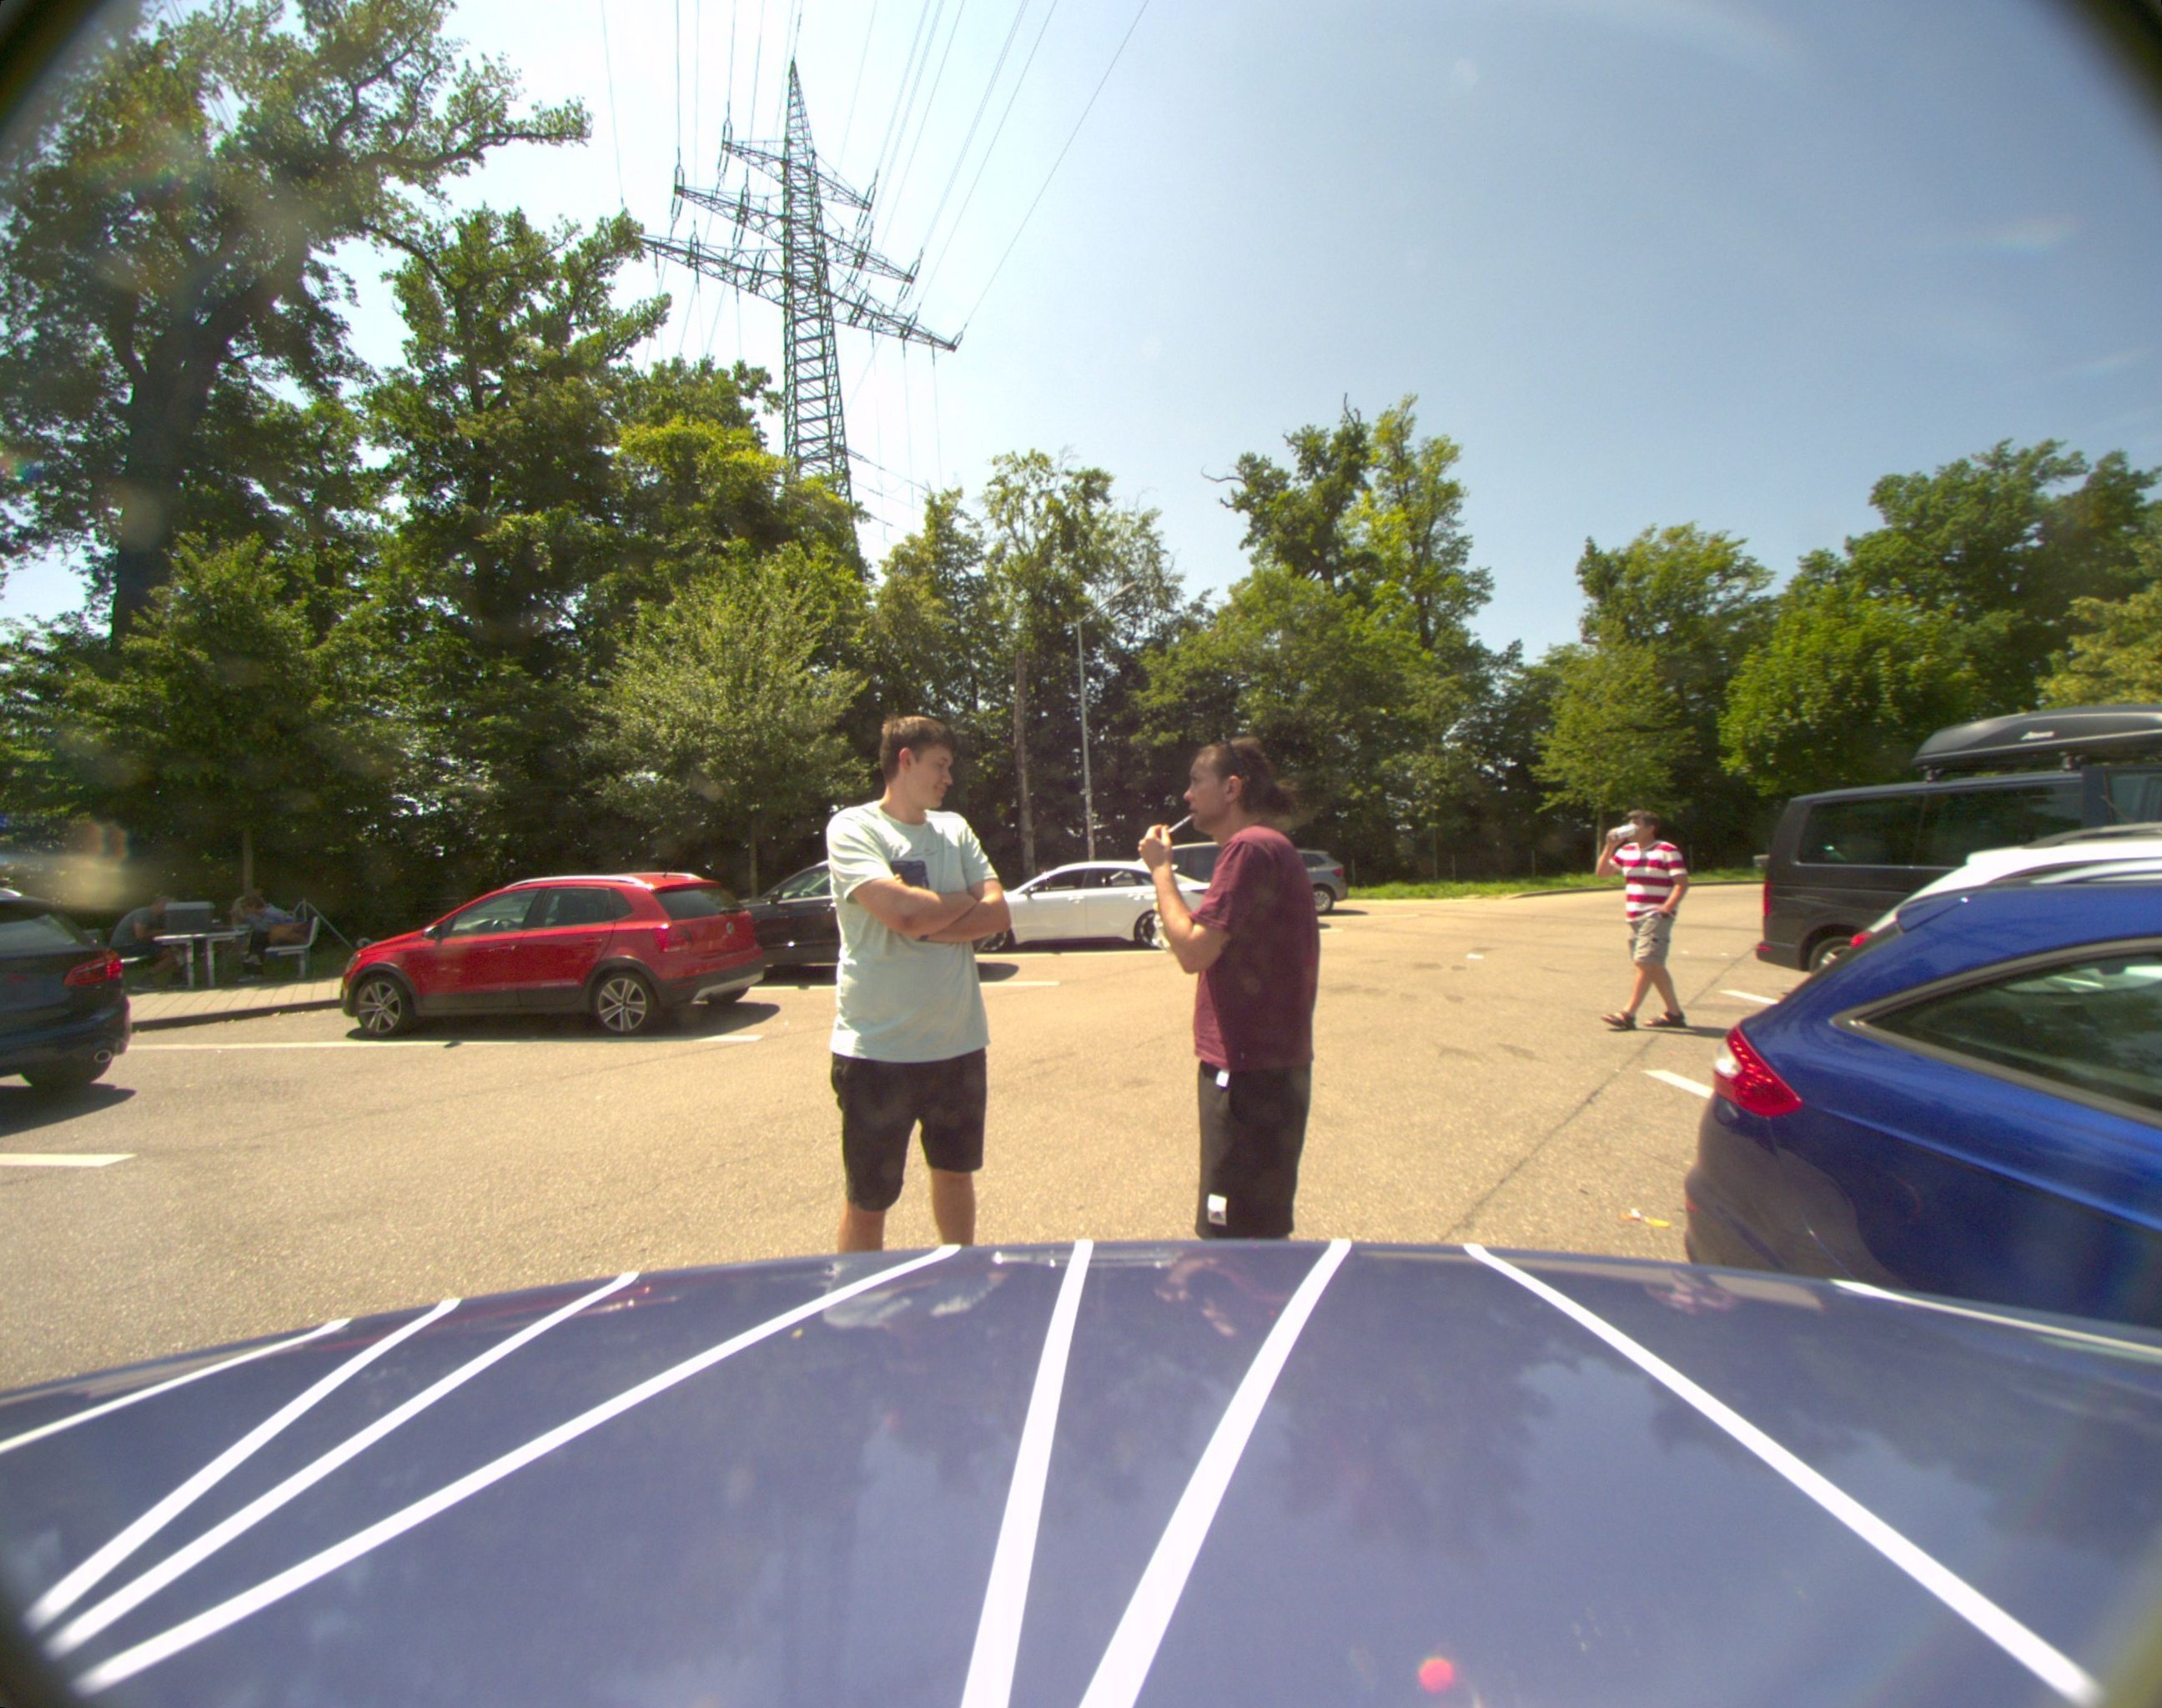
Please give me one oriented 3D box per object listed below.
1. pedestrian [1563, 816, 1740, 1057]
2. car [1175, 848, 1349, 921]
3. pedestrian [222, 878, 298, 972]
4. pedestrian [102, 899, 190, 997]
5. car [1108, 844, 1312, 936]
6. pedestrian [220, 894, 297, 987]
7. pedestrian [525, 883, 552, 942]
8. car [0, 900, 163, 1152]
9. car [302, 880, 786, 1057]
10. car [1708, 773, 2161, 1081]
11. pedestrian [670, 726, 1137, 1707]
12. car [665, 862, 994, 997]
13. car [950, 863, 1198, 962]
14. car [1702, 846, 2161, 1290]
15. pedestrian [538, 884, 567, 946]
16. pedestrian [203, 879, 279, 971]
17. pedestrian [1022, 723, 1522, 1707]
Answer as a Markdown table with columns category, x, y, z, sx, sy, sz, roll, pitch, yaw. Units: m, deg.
| category | x | y | z | sx | sy | sz | roll | pitch | yaw |
| --- | --- | --- | --- | --- | --- | --- | --- | --- | --- |
| pedestrian | 4.467 | 0.600 | 5.995 | 0.785 | 1.744 | 0.754 | -2 | 1 | -8 |
| car | 4.264 | 0.708 | 18.141 | 3.822 | 1.551 | 1.652 | -2 | 1 | 12 |
| pedestrian | -14.693 | 1.259 | 13.612 | 0.572 | 1.596 | 0.647 | -2 | 1 | 1 |
| pedestrian | -12.730 | 1.266 | 10.363 | 0.595 | 1.238 | 0.446 | -3 | 1 | -33 |
| car | 2.605 | 0.711 | 15.446 | 3.822 | 1.686 | 1.652 | -2 | 1 | 12 |
| pedestrian | -11.863 | 1.226 | 10.977 | 0.595 | 1.238 | 0.499 | -3 | 1 | -33 |
| pedestrian | -11.010 | 1.184 | 15.429 | 0.357 | 1.158 | 0.384 | -3 | 2 | -41 |
| car | -9.034 | 1.169 | 4.995 | 4.338 | 1.544 | 1.749 | -1 | 1 | 8 |
| car | -5.233 | 1.088 | 7.660 | 3.823 | 1.460 | 1.651 | -2 | 1 | 8 |
| car | 7.372 | 0.416 | 5.273 | 1.758 | 1.886 | 4.571 | -3 | -1 | -9 |
| pedestrian | -0.497 | 0.718 | 2.088 | 0.815 | 1.939 | 0.918 | -3 | 2 | -44 |
| car | -3.251 | 0.960 | 10.289 | 3.825 | 1.546 | 1.651 | -2 | 1 | 4 |
| car | -0.076 | 0.932 | 12.664 | 3.825 | 1.394 | 1.651 | -2 | 1 | 4 |
| car | 4.644 | 0.729 | 2.242 | 1.757 | 1.496 | 4.574 | -3 | -1 | -1 |
| pedestrian | -10.166 | 1.161 | 14.614 | 0.357 | 1.158 | 0.384 | -3 | 2 | -41 |
| pedestrian | -15.310 | 1.280 | 13.864 | 0.572 | 1.596 | 0.647 | -2 | 1 | 1 |
| pedestrian | 0.466 | 0.715 | 1.919 | 0.919 | 1.894 | 0.815 | -2 | 1 | 16 |
